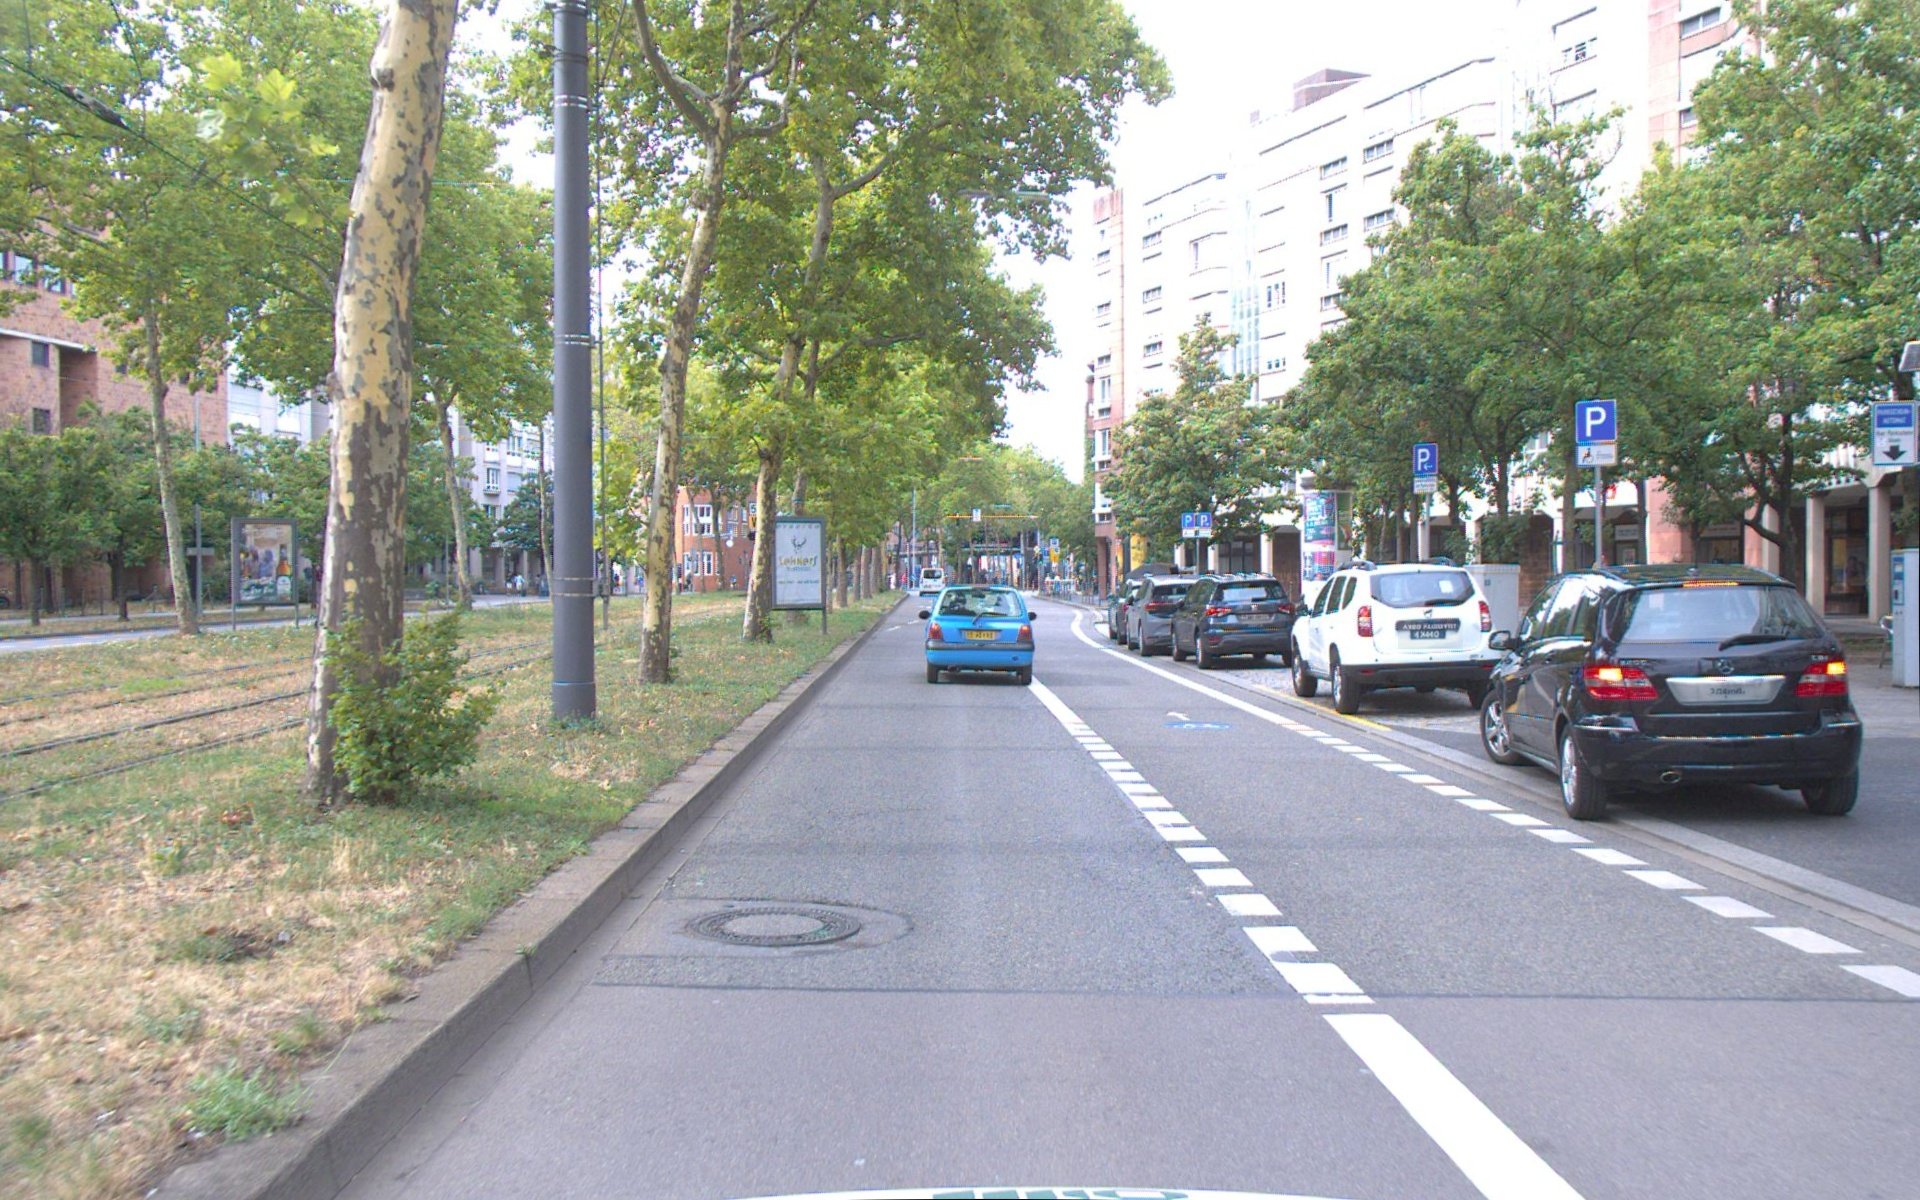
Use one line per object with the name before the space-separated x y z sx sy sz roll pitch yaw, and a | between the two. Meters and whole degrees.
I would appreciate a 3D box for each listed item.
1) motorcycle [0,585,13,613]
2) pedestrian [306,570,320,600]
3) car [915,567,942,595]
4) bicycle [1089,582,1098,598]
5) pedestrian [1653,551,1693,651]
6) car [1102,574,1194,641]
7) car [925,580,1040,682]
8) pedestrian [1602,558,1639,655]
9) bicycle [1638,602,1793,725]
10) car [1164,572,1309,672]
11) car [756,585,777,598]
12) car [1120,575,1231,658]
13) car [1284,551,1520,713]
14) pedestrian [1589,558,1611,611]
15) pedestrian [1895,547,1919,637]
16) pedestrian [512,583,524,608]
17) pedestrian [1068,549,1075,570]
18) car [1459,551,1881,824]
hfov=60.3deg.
motorcycle | -43.491 -0.039 73.703 2.161 1.212 0.791 -1 0 -24
pedestrian | -36.743 -0.850 93.940 0.541 1.735 0.626 0 0 4
car | -2.233 -1.374 118.159 1.892 1.959 4.955 0 1 -1
bicycle | 9.134 -0.690 113.180 0.599 1.137 1.806 0 0 7
pedestrian | 11.558 0.015 26.795 0.506 1.597 0.478 0 0 35
car | 4.462 0.150 39.787 1.779 1.467 4.667 -2 1 2
car | 0.314 0.409 25.043 1.607 1.410 3.843 0 1 0
pedestrian | 10.309 0.097 25.812 0.402 1.505 0.504 -1 1 6
bicycle | 7.113 0.567 15.670 0.593 1.047 1.866 -1 1 -1
car | 4.745 0.320 28.918 1.680 1.545 4.203 -2 1 -2
car | -19.740 -0.880 168.838 1.694 1.267 4.533 0 1 -1
car | 4.362 0.280 34.053 1.704 1.545 4.401 -2 1 0
car | 5.147 0.314 19.830 1.822 1.682 4.165 -2 1 2
pedestrian | 20.794 -0.512 53.710 0.521 1.691 0.852 0 0 11
pedestrian | 18.267 -0.150 31.502 0.592 1.691 0.682 0 0 9
pedestrian | -30.423 -0.307 113.892 0.541 1.735 0.885 0 1 4
pedestrian | 8.795 -3.222 130.450 0.506 1.644 0.851 0 0 4
car | 4.960 0.501 12.223 1.737 1.604 4.308 -2 1 8
